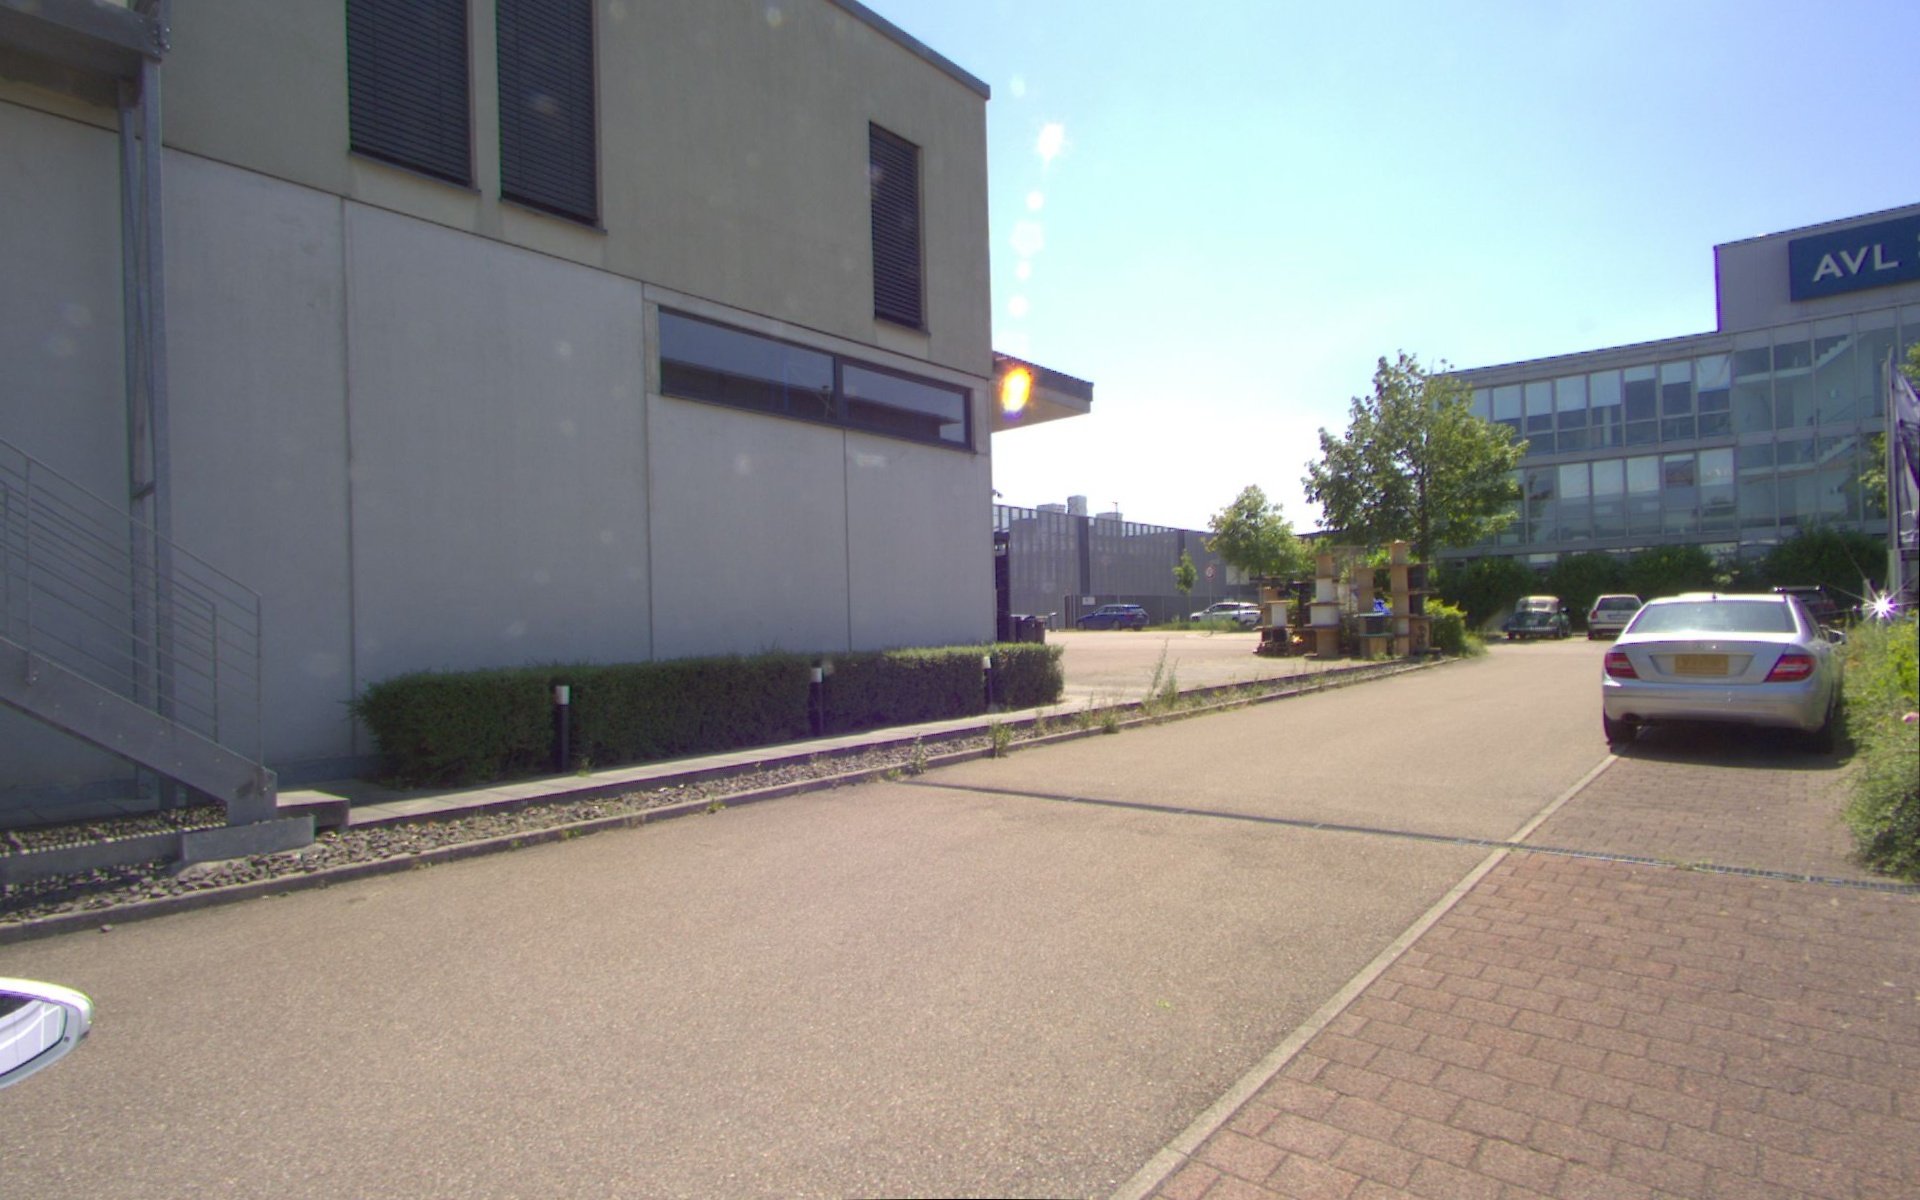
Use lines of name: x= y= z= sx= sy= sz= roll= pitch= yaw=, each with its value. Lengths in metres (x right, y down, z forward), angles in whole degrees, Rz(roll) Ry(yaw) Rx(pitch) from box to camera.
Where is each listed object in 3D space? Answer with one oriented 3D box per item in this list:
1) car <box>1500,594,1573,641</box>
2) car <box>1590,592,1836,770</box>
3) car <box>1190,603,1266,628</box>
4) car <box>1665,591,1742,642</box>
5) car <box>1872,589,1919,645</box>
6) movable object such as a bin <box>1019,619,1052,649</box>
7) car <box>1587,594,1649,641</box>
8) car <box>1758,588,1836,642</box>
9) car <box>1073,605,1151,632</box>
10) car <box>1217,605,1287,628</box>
car: x=20.202 y=0.628 z=35.000 sx=1.727 sy=1.538 sz=3.973 roll=-1 pitch=-2 yaw=37
car: x=7.727 y=0.712 z=10.167 sx=1.710 sy=1.455 sz=3.687 roll=-1 pitch=-2 yaw=41
car: x=16.397 y=0.981 z=61.465 sx=1.728 sy=1.433 sz=4.416 roll=1 pitch=-2 yaw=-36
car: x=24.192 y=0.561 z=32.685 sx=1.725 sy=1.538 sz=3.979 roll=-1 pitch=-1 yaw=33
car: x=27.624 y=0.496 z=28.904 sx=1.729 sy=1.538 sz=3.970 roll=-1 pitch=-2 yaw=40
movable object such as a bin: x=2.566 y=1.143 z=33.951 sx=0.808 sy=0.993 sz=0.804 roll=-1 pitch=-1 yaw=40
car: x=22.082 y=0.601 z=33.665 sx=1.651 sy=1.459 sz=3.979 roll=-1 pitch=-1 yaw=33
car: x=25.804 y=0.478 z=30.912 sx=1.729 sy=1.538 sz=3.970 roll=-1 pitch=-2 yaw=40
car: x=8.426 y=1.079 z=55.846 sx=1.728 sy=1.433 sz=4.418 roll=1 pitch=-2 yaw=-35
car: x=18.406 y=1.066 z=63.315 sx=1.728 sy=1.433 sz=4.037 roll=1 pitch=-2 yaw=-36
